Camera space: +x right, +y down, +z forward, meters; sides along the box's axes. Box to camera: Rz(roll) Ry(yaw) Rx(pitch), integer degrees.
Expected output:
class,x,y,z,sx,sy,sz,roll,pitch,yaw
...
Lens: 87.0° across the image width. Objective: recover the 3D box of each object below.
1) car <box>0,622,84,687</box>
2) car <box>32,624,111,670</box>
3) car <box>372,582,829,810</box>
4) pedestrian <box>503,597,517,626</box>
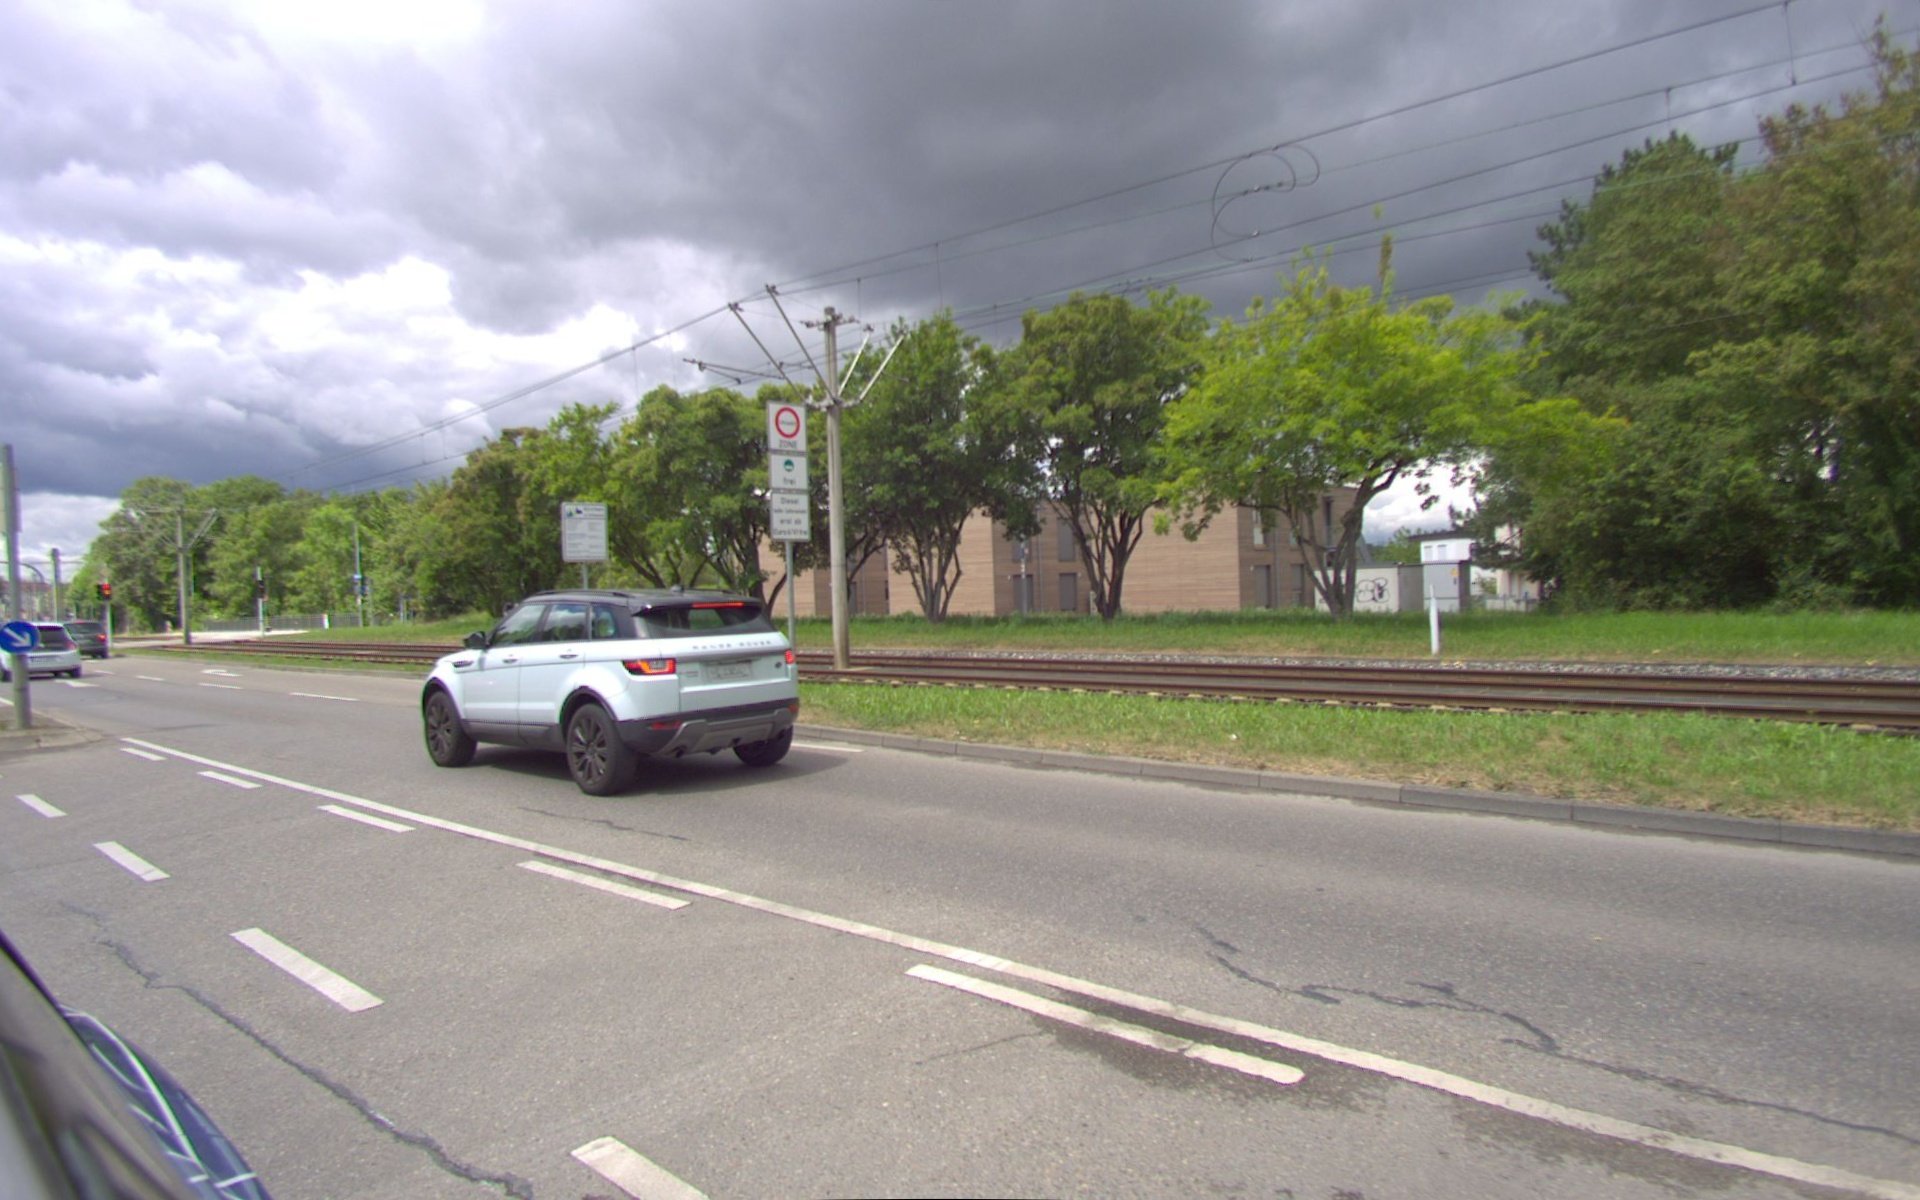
class,x,y,z,sx,sy,sz,roll,pitch,yaw
car,-25.600,1.437,27.724,4.259,1.624,1.711,-1,-1,39
car,-37.193,1.905,42.318,4.521,1.672,1.972,-1,2,42
car,-3.498,0.709,9.408,4.602,1.622,1.842,-1,0,39
pedestrian,-27.401,0.719,61.669,0.485,1.736,0.800,-2,1,-3
